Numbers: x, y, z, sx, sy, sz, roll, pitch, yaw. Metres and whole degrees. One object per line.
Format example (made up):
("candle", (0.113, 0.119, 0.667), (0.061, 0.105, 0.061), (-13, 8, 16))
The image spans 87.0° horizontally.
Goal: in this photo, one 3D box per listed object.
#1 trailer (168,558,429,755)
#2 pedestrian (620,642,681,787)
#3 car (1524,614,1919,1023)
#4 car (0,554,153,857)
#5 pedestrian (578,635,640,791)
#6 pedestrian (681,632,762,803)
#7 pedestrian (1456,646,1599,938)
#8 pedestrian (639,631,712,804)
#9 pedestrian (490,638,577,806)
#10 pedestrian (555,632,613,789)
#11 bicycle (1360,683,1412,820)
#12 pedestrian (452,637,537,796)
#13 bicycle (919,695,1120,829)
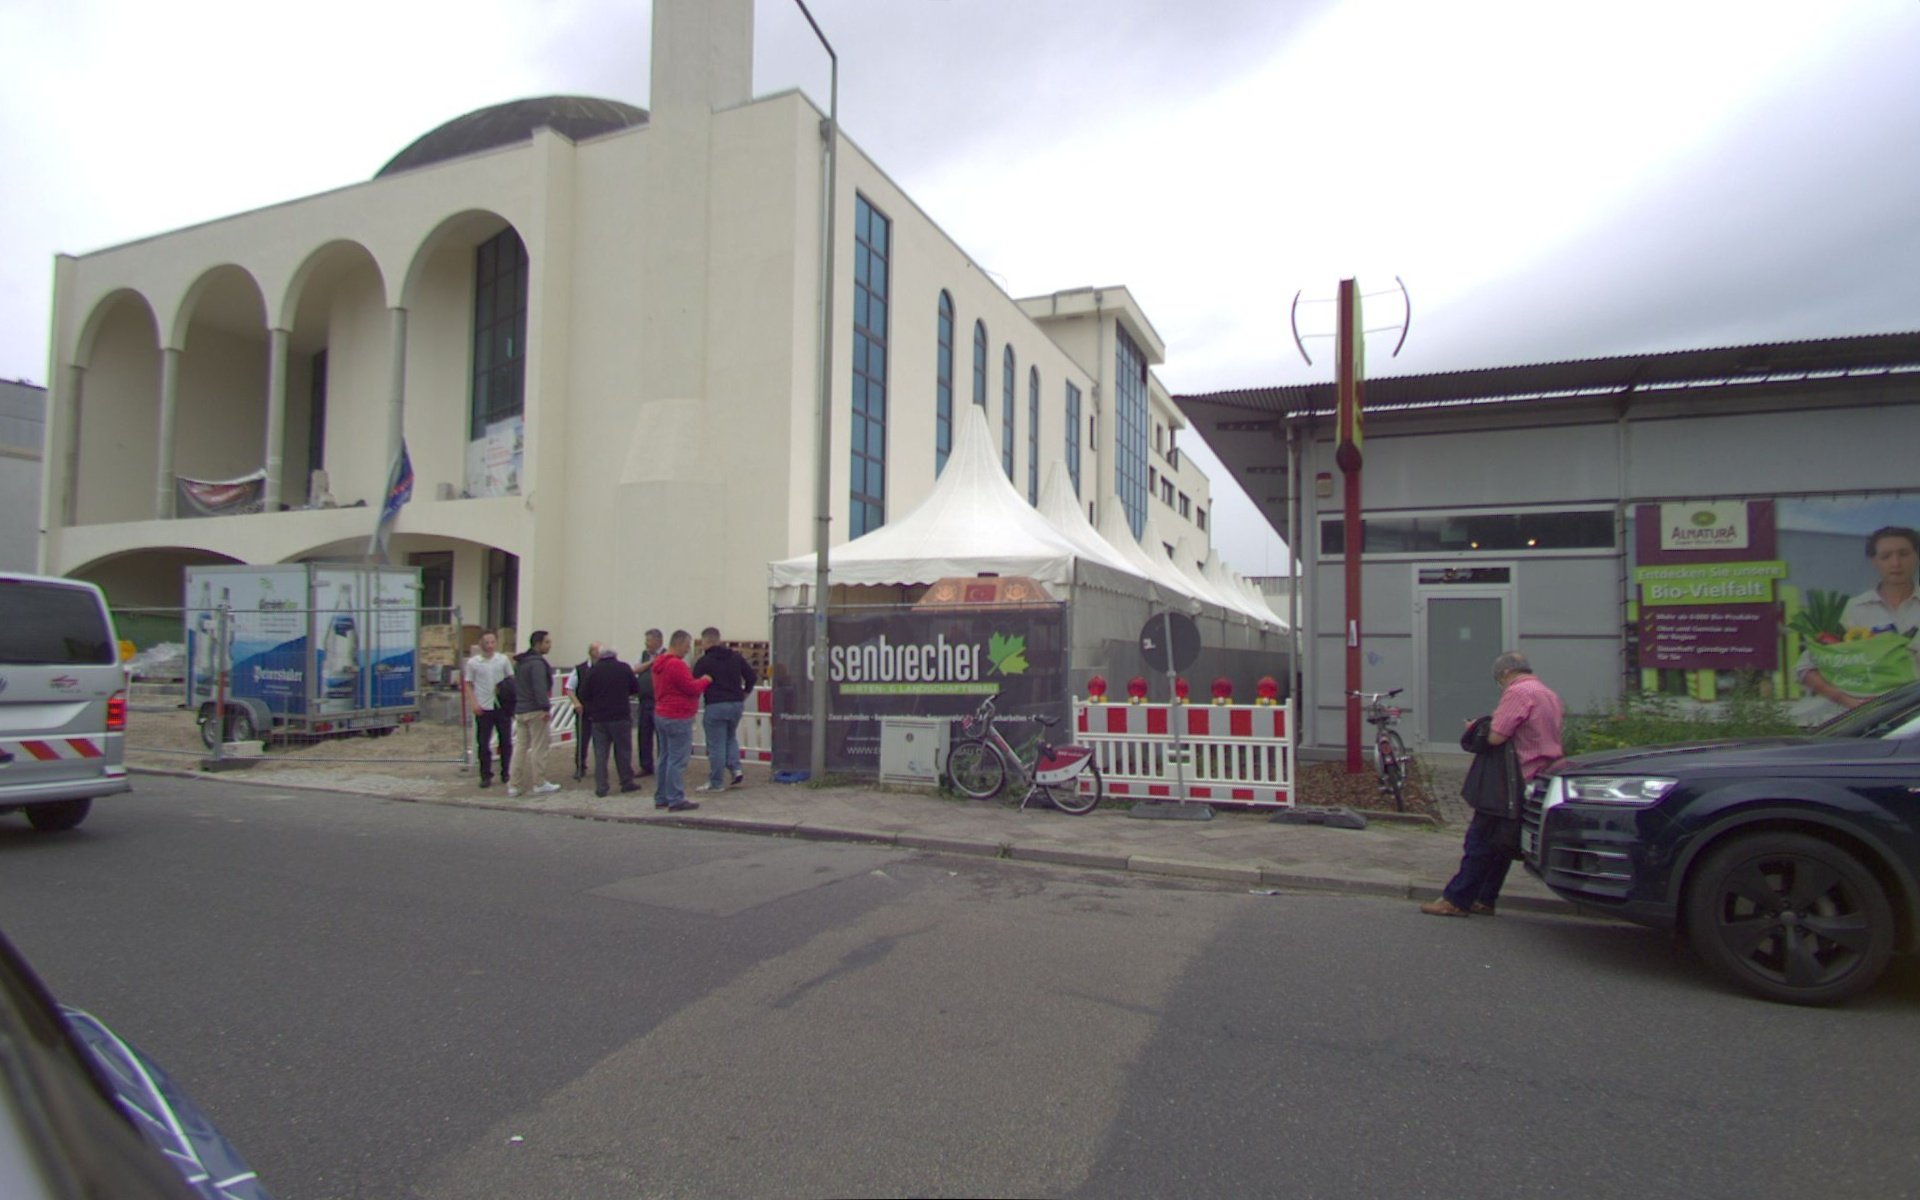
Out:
("trailer", (-9.820, 0.824, 15.067), (3.174, 2.627, 1.788), (-1, -4, 26))
("pedestrian", (-3.595, 1.314, 11.790), (0.485, 1.624, 0.540), (0, -1, 6))
("car", (5.412, 0.999, 4.668), (4.700, 1.704, 1.856), (-1, -7, 24))
("car", (-8.727, 0.701, 7.695), (4.925, 2.029, 1.917), (0, -3, 24))
("pedestrian", (-3.782, 1.200, 10.895), (0.561, 1.624, 0.492), (2, -4, -22))
("pedestrian", (-2.582, 1.231, 10.911), (0.684, 1.730, 0.689), (-2, -1, -23))
("pedestrian", (3.429, 1.124, 6.186), (0.649, 1.634, 0.670), (-1, -7, 23))
("pedestrian", (-2.757, 1.131, 9.841), (0.532, 1.624, 0.491), (2, -5, -5))
("pedestrian", (-4.608, 1.307, 10.963), (0.681, 1.763, 0.491), (1, -3, -3))
("pedestrian", (-4.373, 1.273, 11.792), (0.520, 1.762, 0.491), (1, 3, -3))
("bicycle", (4.127, 1.421, 9.850), (0.389, 1.054, 1.654), (-1, 1, 21))
("pedestrian", (-5.294, 1.313, 11.537), (0.681, 1.763, 0.491), (1, -3, -3))
("bicycle", (0.556, 1.523, 9.815), (1.893, 1.086, 0.540), (0, -3, 30))
